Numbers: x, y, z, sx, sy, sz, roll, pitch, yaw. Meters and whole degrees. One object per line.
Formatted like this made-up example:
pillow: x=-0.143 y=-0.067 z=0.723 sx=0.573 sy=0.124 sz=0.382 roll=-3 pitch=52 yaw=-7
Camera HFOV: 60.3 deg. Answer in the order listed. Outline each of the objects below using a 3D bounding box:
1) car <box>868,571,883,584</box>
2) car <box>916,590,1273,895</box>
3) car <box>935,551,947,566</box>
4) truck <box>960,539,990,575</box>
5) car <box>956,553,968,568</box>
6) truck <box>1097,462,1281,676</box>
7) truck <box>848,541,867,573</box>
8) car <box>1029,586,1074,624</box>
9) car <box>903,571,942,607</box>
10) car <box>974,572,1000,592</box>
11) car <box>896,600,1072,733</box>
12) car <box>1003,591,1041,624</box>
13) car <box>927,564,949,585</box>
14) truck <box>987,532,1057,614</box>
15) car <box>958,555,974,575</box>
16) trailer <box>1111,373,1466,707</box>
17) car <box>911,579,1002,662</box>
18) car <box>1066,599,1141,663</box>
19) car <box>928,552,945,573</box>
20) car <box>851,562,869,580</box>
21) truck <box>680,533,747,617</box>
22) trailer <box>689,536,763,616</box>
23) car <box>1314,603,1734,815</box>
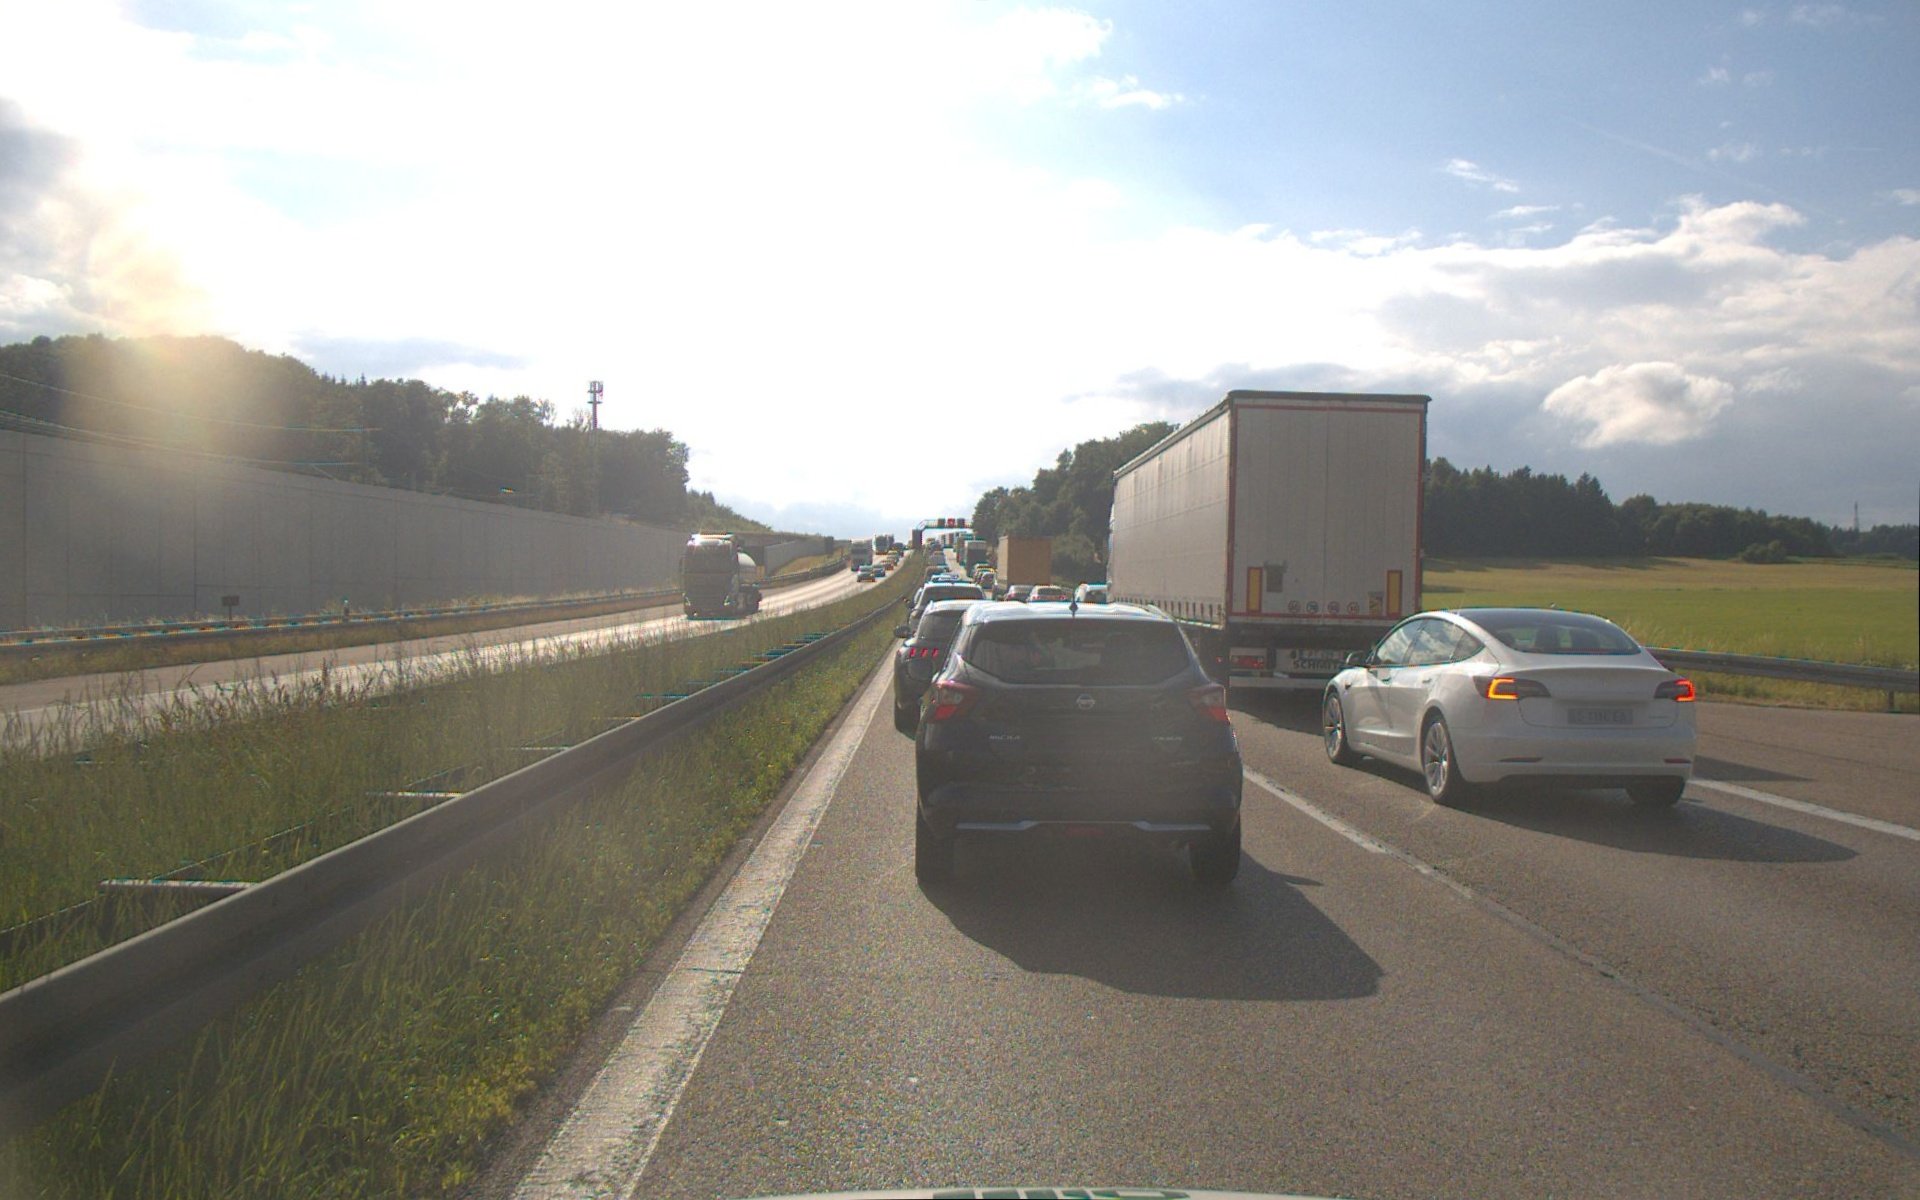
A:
car: x=-10.256 y=-2.764 z=201.029 sx=1.663 sy=1.525 sz=4.426 roll=0 pitch=0 yaw=-1
car: x=0.630 y=0.689 z=10.143 sx=1.737 sy=1.476 sz=4.231 roll=0 pitch=0 yaw=-1
car: x=-2.910 y=-6.297 z=252.075 sx=1.835 sy=2.196 sz=5.211 roll=0 pitch=3 yaw=-1
truck: x=1.993 y=-5.868 z=225.742 sx=3.395 sy=4.656 sz=12.437 roll=1 pitch=1 yaw=-2
car: x=0.271 y=-6.094 z=255.239 sx=1.835 sy=2.196 sz=5.211 roll=0 pitch=3 yaw=-1
truck: x=4.634 y=-0.570 z=34.469 sx=3.069 sy=4.086 sz=5.163 roll=1 pitch=-1 yaw=0
truck: x=-14.266 y=-5.974 z=230.145 sx=2.332 sy=4.254 sz=5.931 roll=-1 pitch=0 yaw=-1
car: x=4.267 y=0.207 z=77.800 sx=1.835 sy=1.673 sz=4.232 roll=0 pitch=1 yaw=-1
car: x=-1.800 y=-0.569 z=79.665 sx=1.835 sy=1.673 sz=4.232 roll=0 pitch=1 yaw=-1
car: x=2.332 y=-1.562 z=143.119 sx=1.836 sy=1.673 sz=4.229 roll=0 pitch=2 yaw=-4
car: x=0.223 y=0.690 z=19.342 sx=1.835 sy=1.381 sz=4.231 roll=0 pitch=0 yaw=-1
car: x=3.253 y=0.388 z=87.286 sx=1.835 sy=1.673 sz=4.232 roll=0 pitch=1 yaw=-1
car: x=-1.874 y=-2.145 z=139.658 sx=1.835 sy=1.673 sz=4.231 roll=0 pitch=2 yaw=-2
truck: x=3.654 y=-1.495 z=100.733 sx=3.230 sy=4.657 sz=12.434 roll=1 pitch=-1 yaw=-2
car: x=0.716 y=-4.274 z=200.166 sx=1.835 sy=2.196 sz=5.211 roll=0 pitch=3 yaw=-1
trailer: x=4.674 y=-0.646 z=27.109 sx=3.067 sy=4.081 sz=13.364 roll=1 pitch=-1 yaw=0
car: x=-0.100 y=0.407 z=35.412 sx=1.835 sy=1.673 sz=4.231 roll=0 pitch=0 yaw=-1
car: x=3.814 y=0.787 z=44.510 sx=1.663 sy=1.639 sz=4.437 roll=0 pitch=0 yaw=0
car: x=-2.645 y=-4.133 z=183.449 sx=1.835 sy=2.196 sz=5.211 roll=0 pitch=3 yaw=-1
car: x=-10.727 y=-3.099 z=177.748 sx=1.744 sy=1.767 sz=4.101 roll=0 pitch=0 yaw=-1
truck: x=-12.199 y=-1.216 z=82.212 sx=2.530 sy=3.991 sz=5.721 roll=-1 pitch=0 yaw=-1
trailer: x=-12.336 y=-1.198 z=88.157 sx=2.536 sy=3.970 sz=10.862 roll=-1 pitch=0 yaw=-1
car: x=4.349 y=0.752 z=13.563 sx=1.753 sy=1.418 sz=4.434 roll=0 pitch=0 yaw=-3
